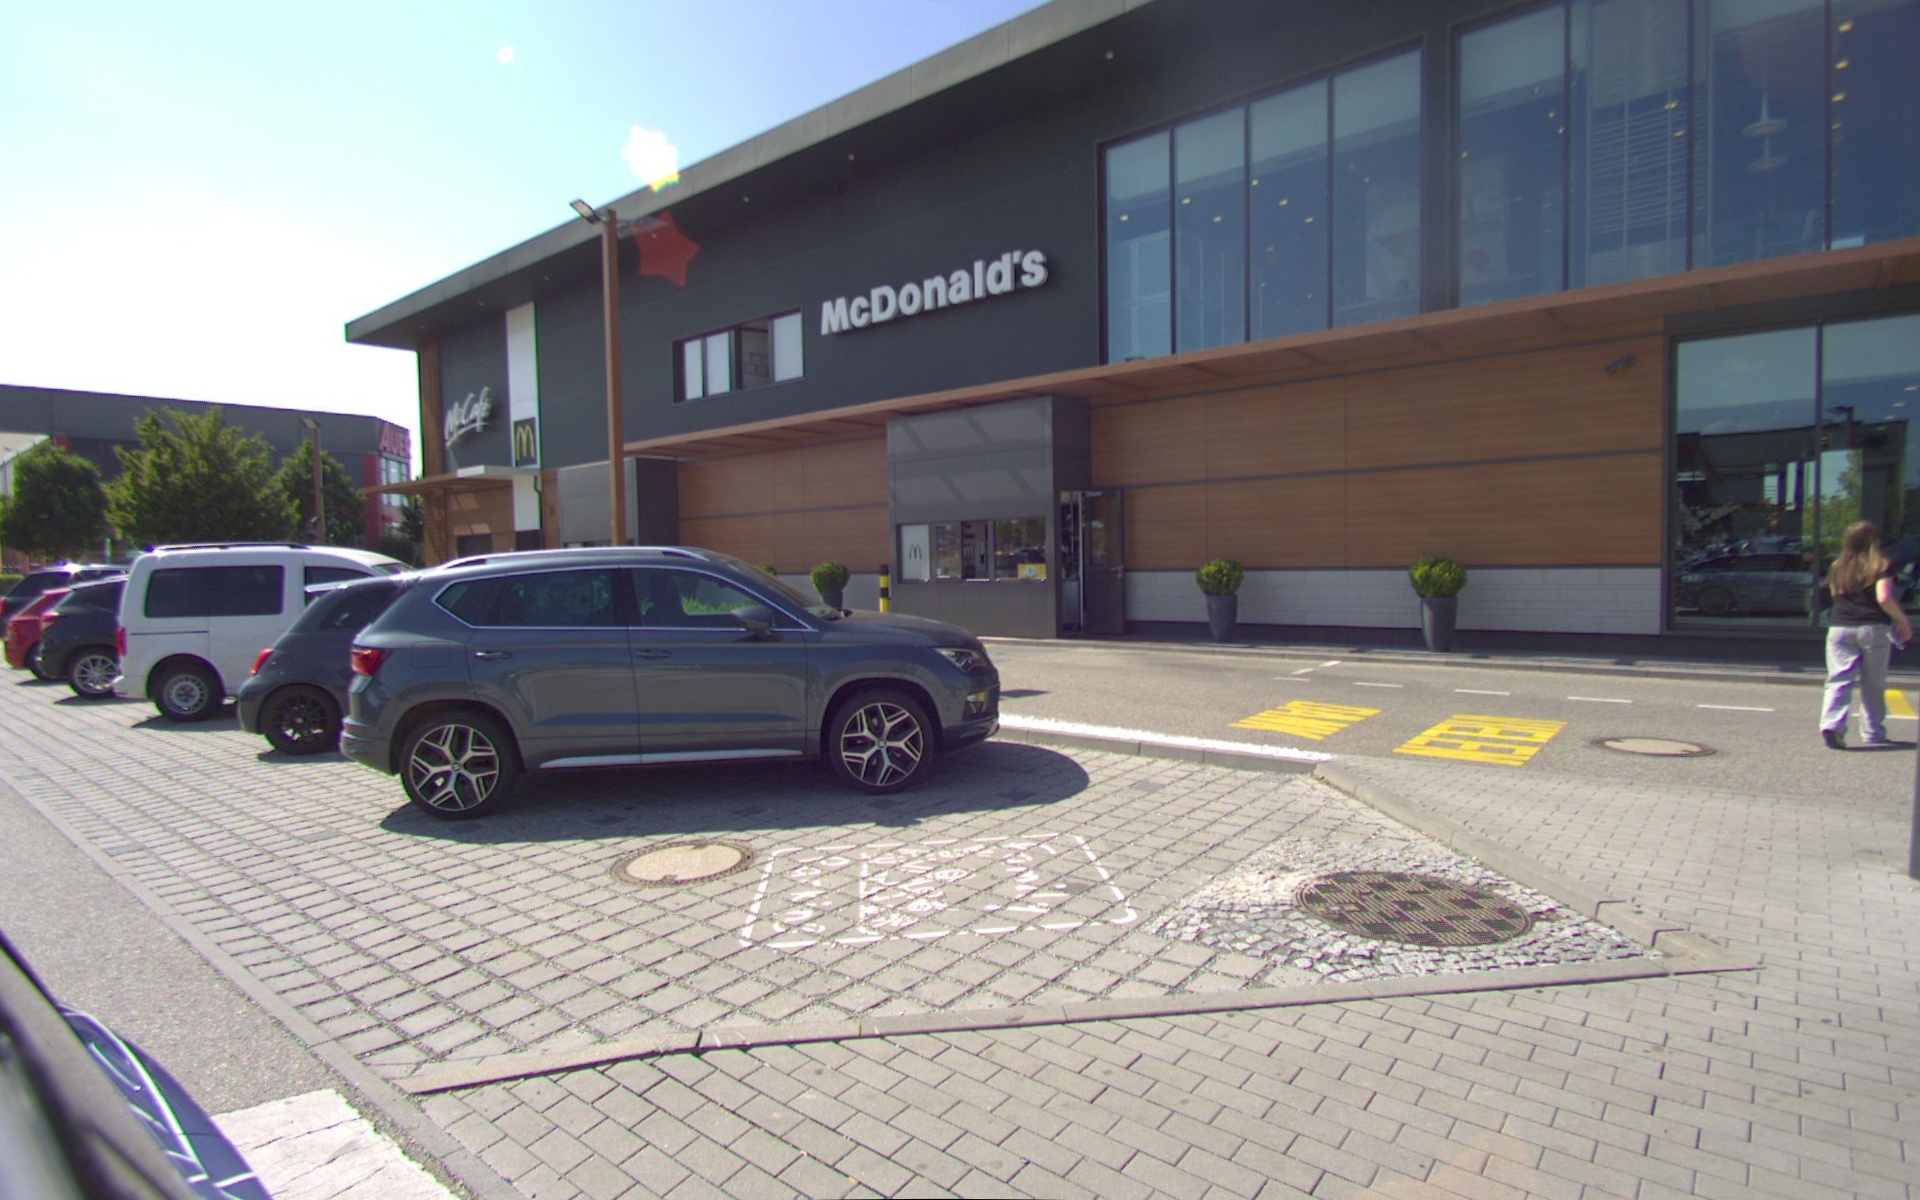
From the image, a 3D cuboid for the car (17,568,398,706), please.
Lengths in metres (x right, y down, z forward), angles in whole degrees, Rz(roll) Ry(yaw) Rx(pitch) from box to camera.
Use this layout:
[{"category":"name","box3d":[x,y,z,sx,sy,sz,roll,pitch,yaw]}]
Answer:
[{"category":"car","box3d":[-10.055,0.424,13.869,3.779,1.644,1.764,-1,2,-16]}]

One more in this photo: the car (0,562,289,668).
[{"category":"car","box3d":[-14.773,0.213,18.345,3.973,1.718,1.679,-2,2,-12]}]

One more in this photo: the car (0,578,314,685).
[{"category":"car","box3d":[-12.763,0.425,16.260,3.707,1.454,1.681,-2,2,-22]}]

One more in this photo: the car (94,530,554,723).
[{"category":"car","box3d":[-7.010,0.226,11.609,4.078,1.935,1.762,-1,2,-10]}]

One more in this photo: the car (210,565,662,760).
[{"category":"car","box3d":[-4.542,0.472,9.278,3.358,1.493,1.572,-2,2,-13]}]

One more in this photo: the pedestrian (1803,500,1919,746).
[{"category":"pedestrian","box3d":[6.353,0.137,6.964,0.717,1.595,0.742,-2,2,-40]}]

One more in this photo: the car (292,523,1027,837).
[{"category":"car","box3d":[-1.789,0.393,6.892,4.163,1.614,1.794,-3,4,-6]}]
